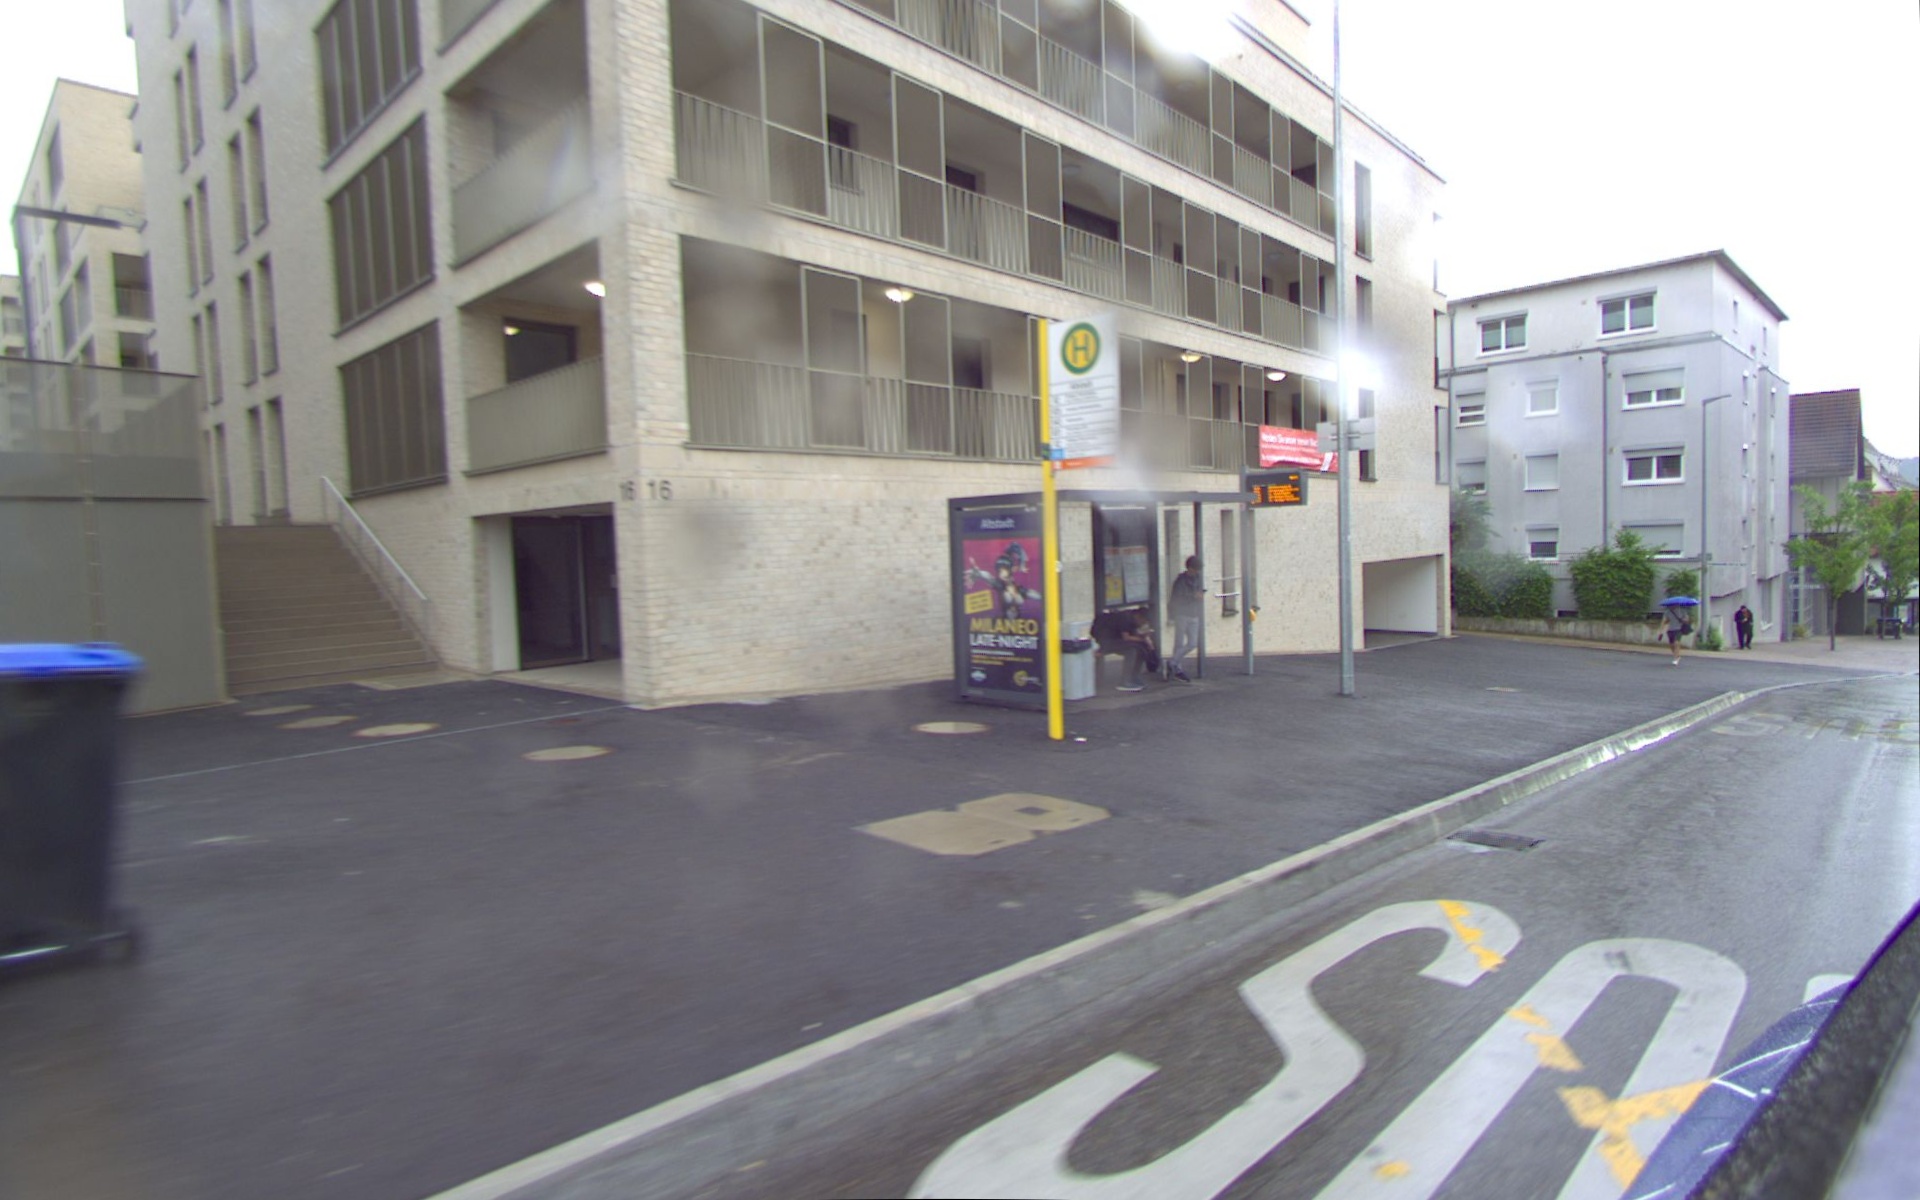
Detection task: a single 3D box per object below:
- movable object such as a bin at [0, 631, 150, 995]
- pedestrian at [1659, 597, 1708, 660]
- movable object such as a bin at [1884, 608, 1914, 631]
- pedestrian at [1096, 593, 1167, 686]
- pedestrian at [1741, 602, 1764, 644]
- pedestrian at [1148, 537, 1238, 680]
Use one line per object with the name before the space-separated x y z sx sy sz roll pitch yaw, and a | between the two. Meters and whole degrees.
movable object such as a bin | -3.085 0.660 3.347 0.569 1.075 0.596 1 1 -45
pedestrian | 18.794 0.729 26.277 1.020 1.560 0.737 1 3 -41
movable object such as a bin | 58.564 1.238 63.131 1.152 1.352 1.237 1 1 -42
pedestrian | 2.307 0.515 13.610 0.624 1.176 0.672 0 2 -44
pedestrian | 30.273 0.874 38.664 0.689 1.576 0.700 0 -1 40
pedestrian | 3.351 0.096 14.546 1.004 1.964 0.783 0 2 -44
